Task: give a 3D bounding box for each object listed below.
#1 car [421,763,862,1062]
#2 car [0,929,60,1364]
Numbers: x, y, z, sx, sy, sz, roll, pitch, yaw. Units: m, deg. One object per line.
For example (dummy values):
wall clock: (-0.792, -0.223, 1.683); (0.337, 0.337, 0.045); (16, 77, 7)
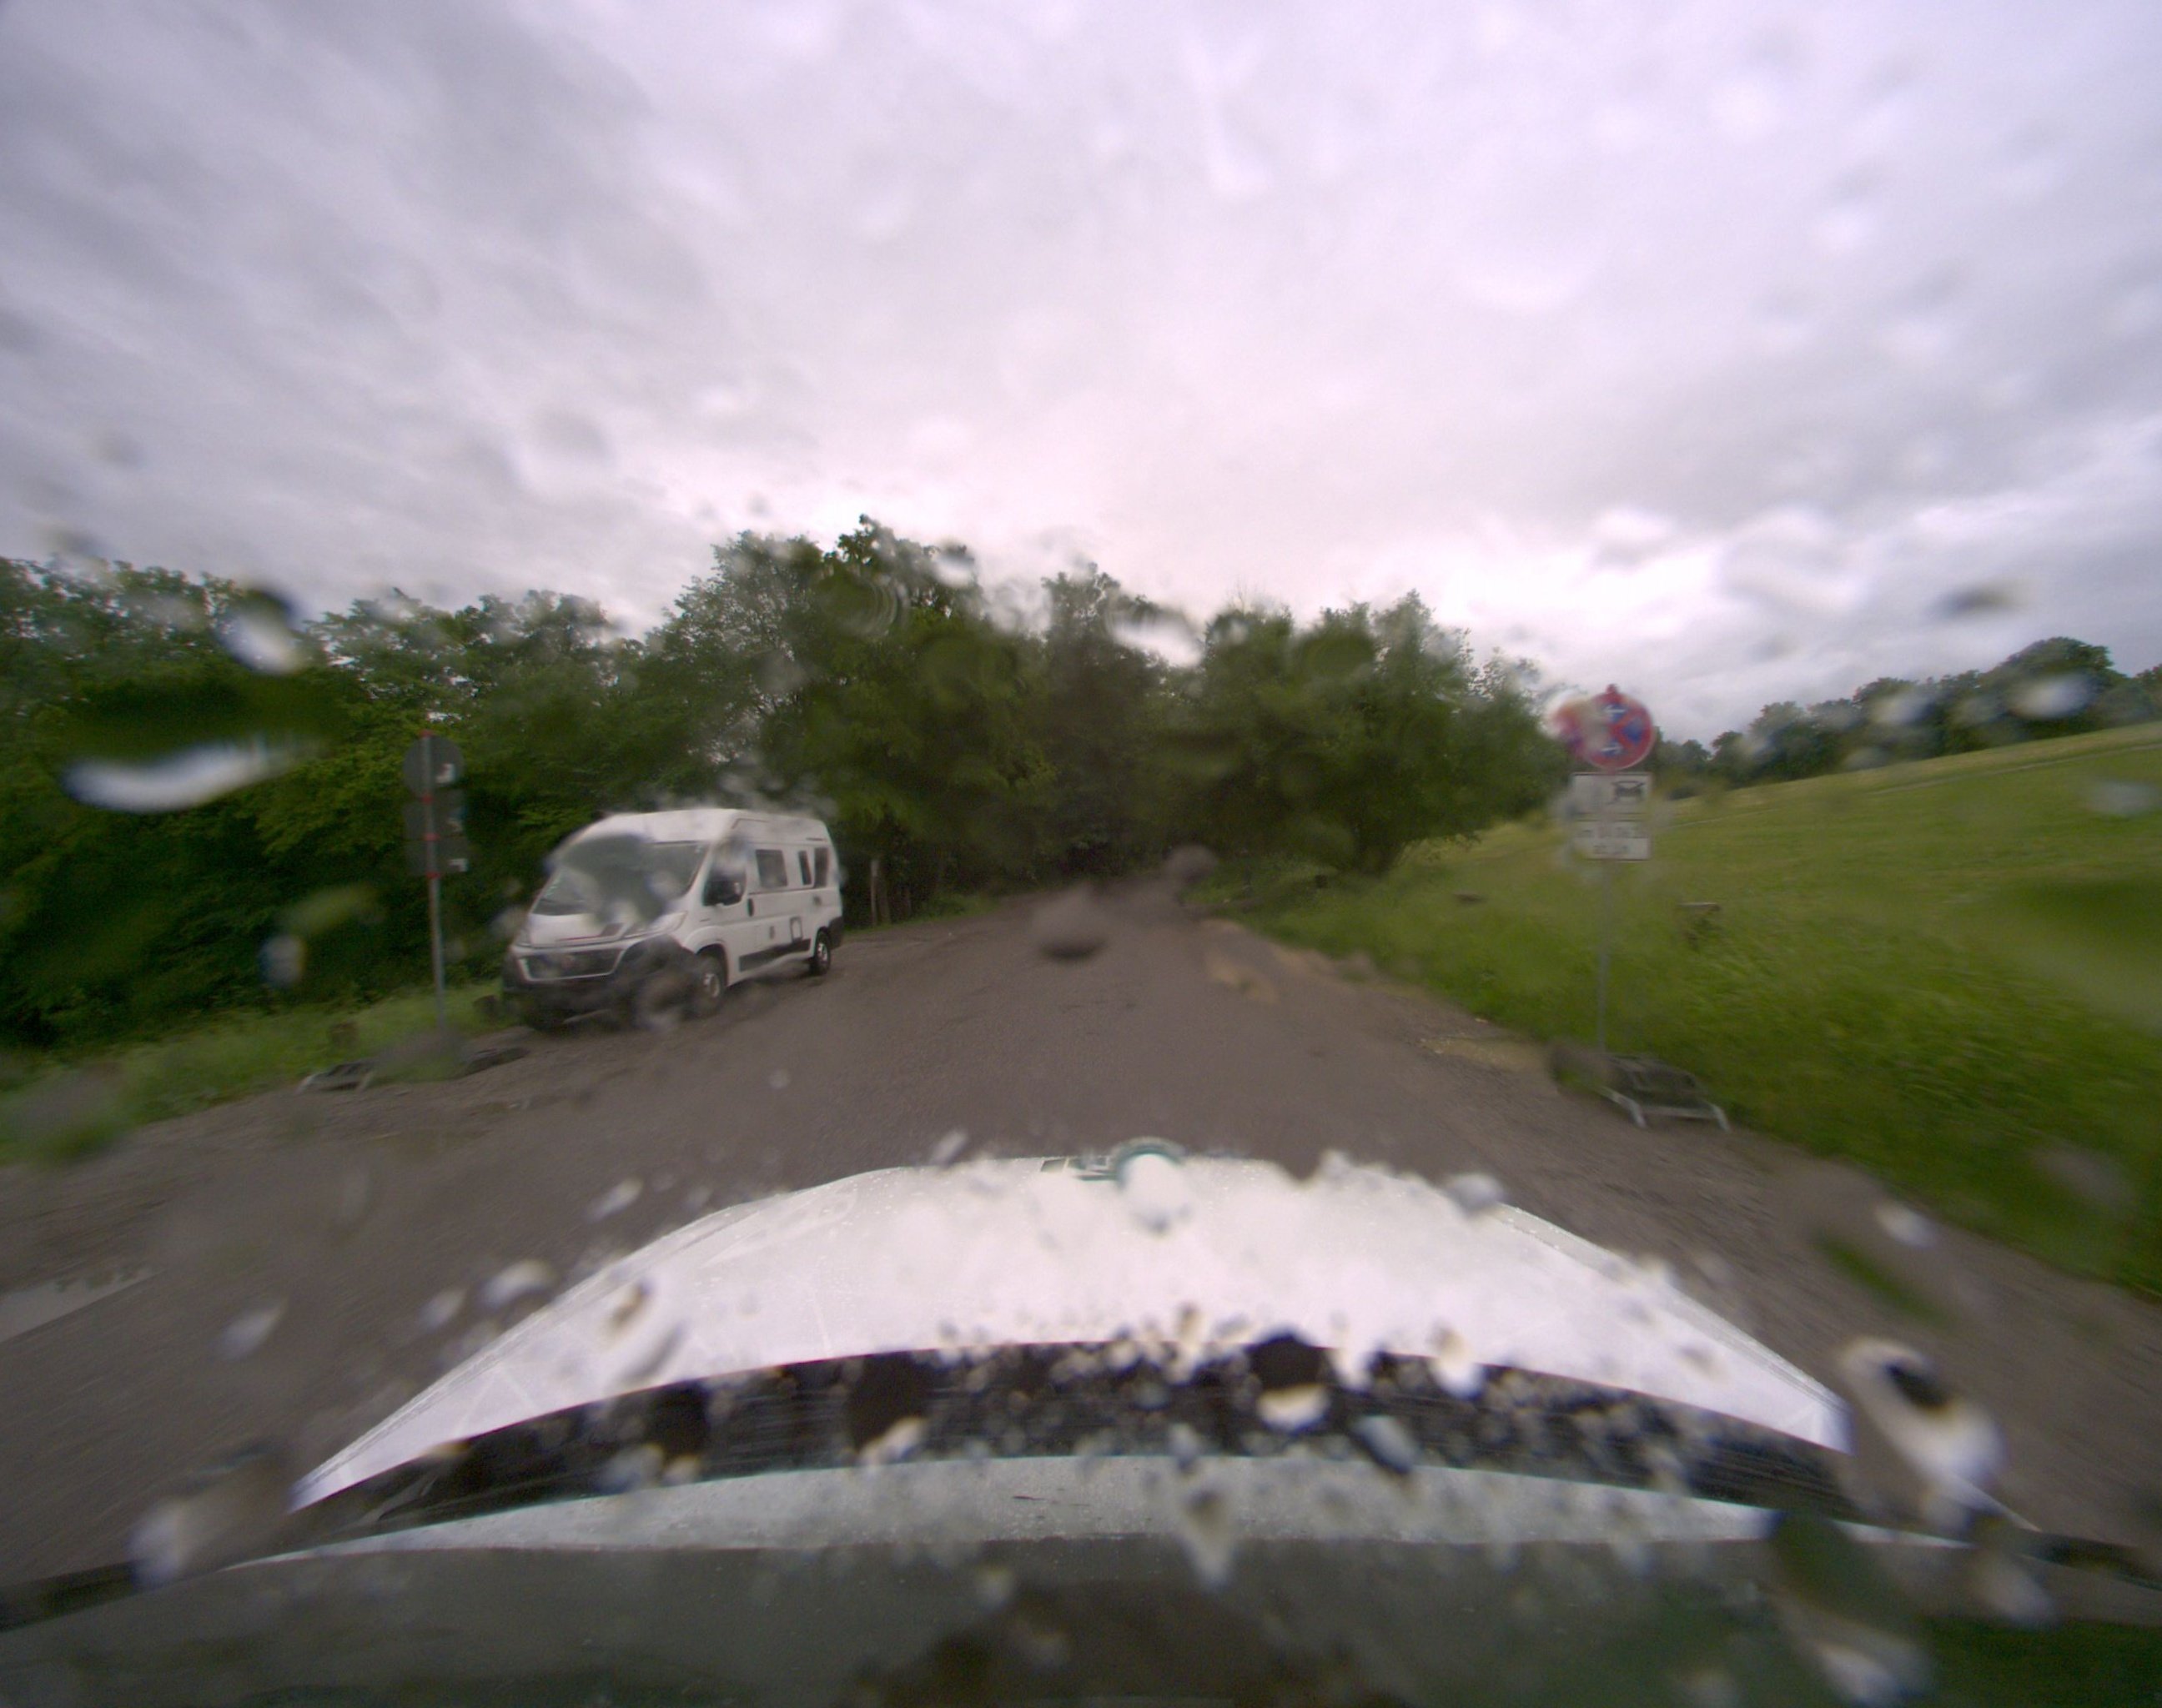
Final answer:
car: (-5.044, 0.523, 10.870); (2.265, 2.696, 6.051); (-5, 1, 1)
car: (-5.030, 1.184, 0.939); (1.854, 1.595, 4.497); (-4, 1, 1)
